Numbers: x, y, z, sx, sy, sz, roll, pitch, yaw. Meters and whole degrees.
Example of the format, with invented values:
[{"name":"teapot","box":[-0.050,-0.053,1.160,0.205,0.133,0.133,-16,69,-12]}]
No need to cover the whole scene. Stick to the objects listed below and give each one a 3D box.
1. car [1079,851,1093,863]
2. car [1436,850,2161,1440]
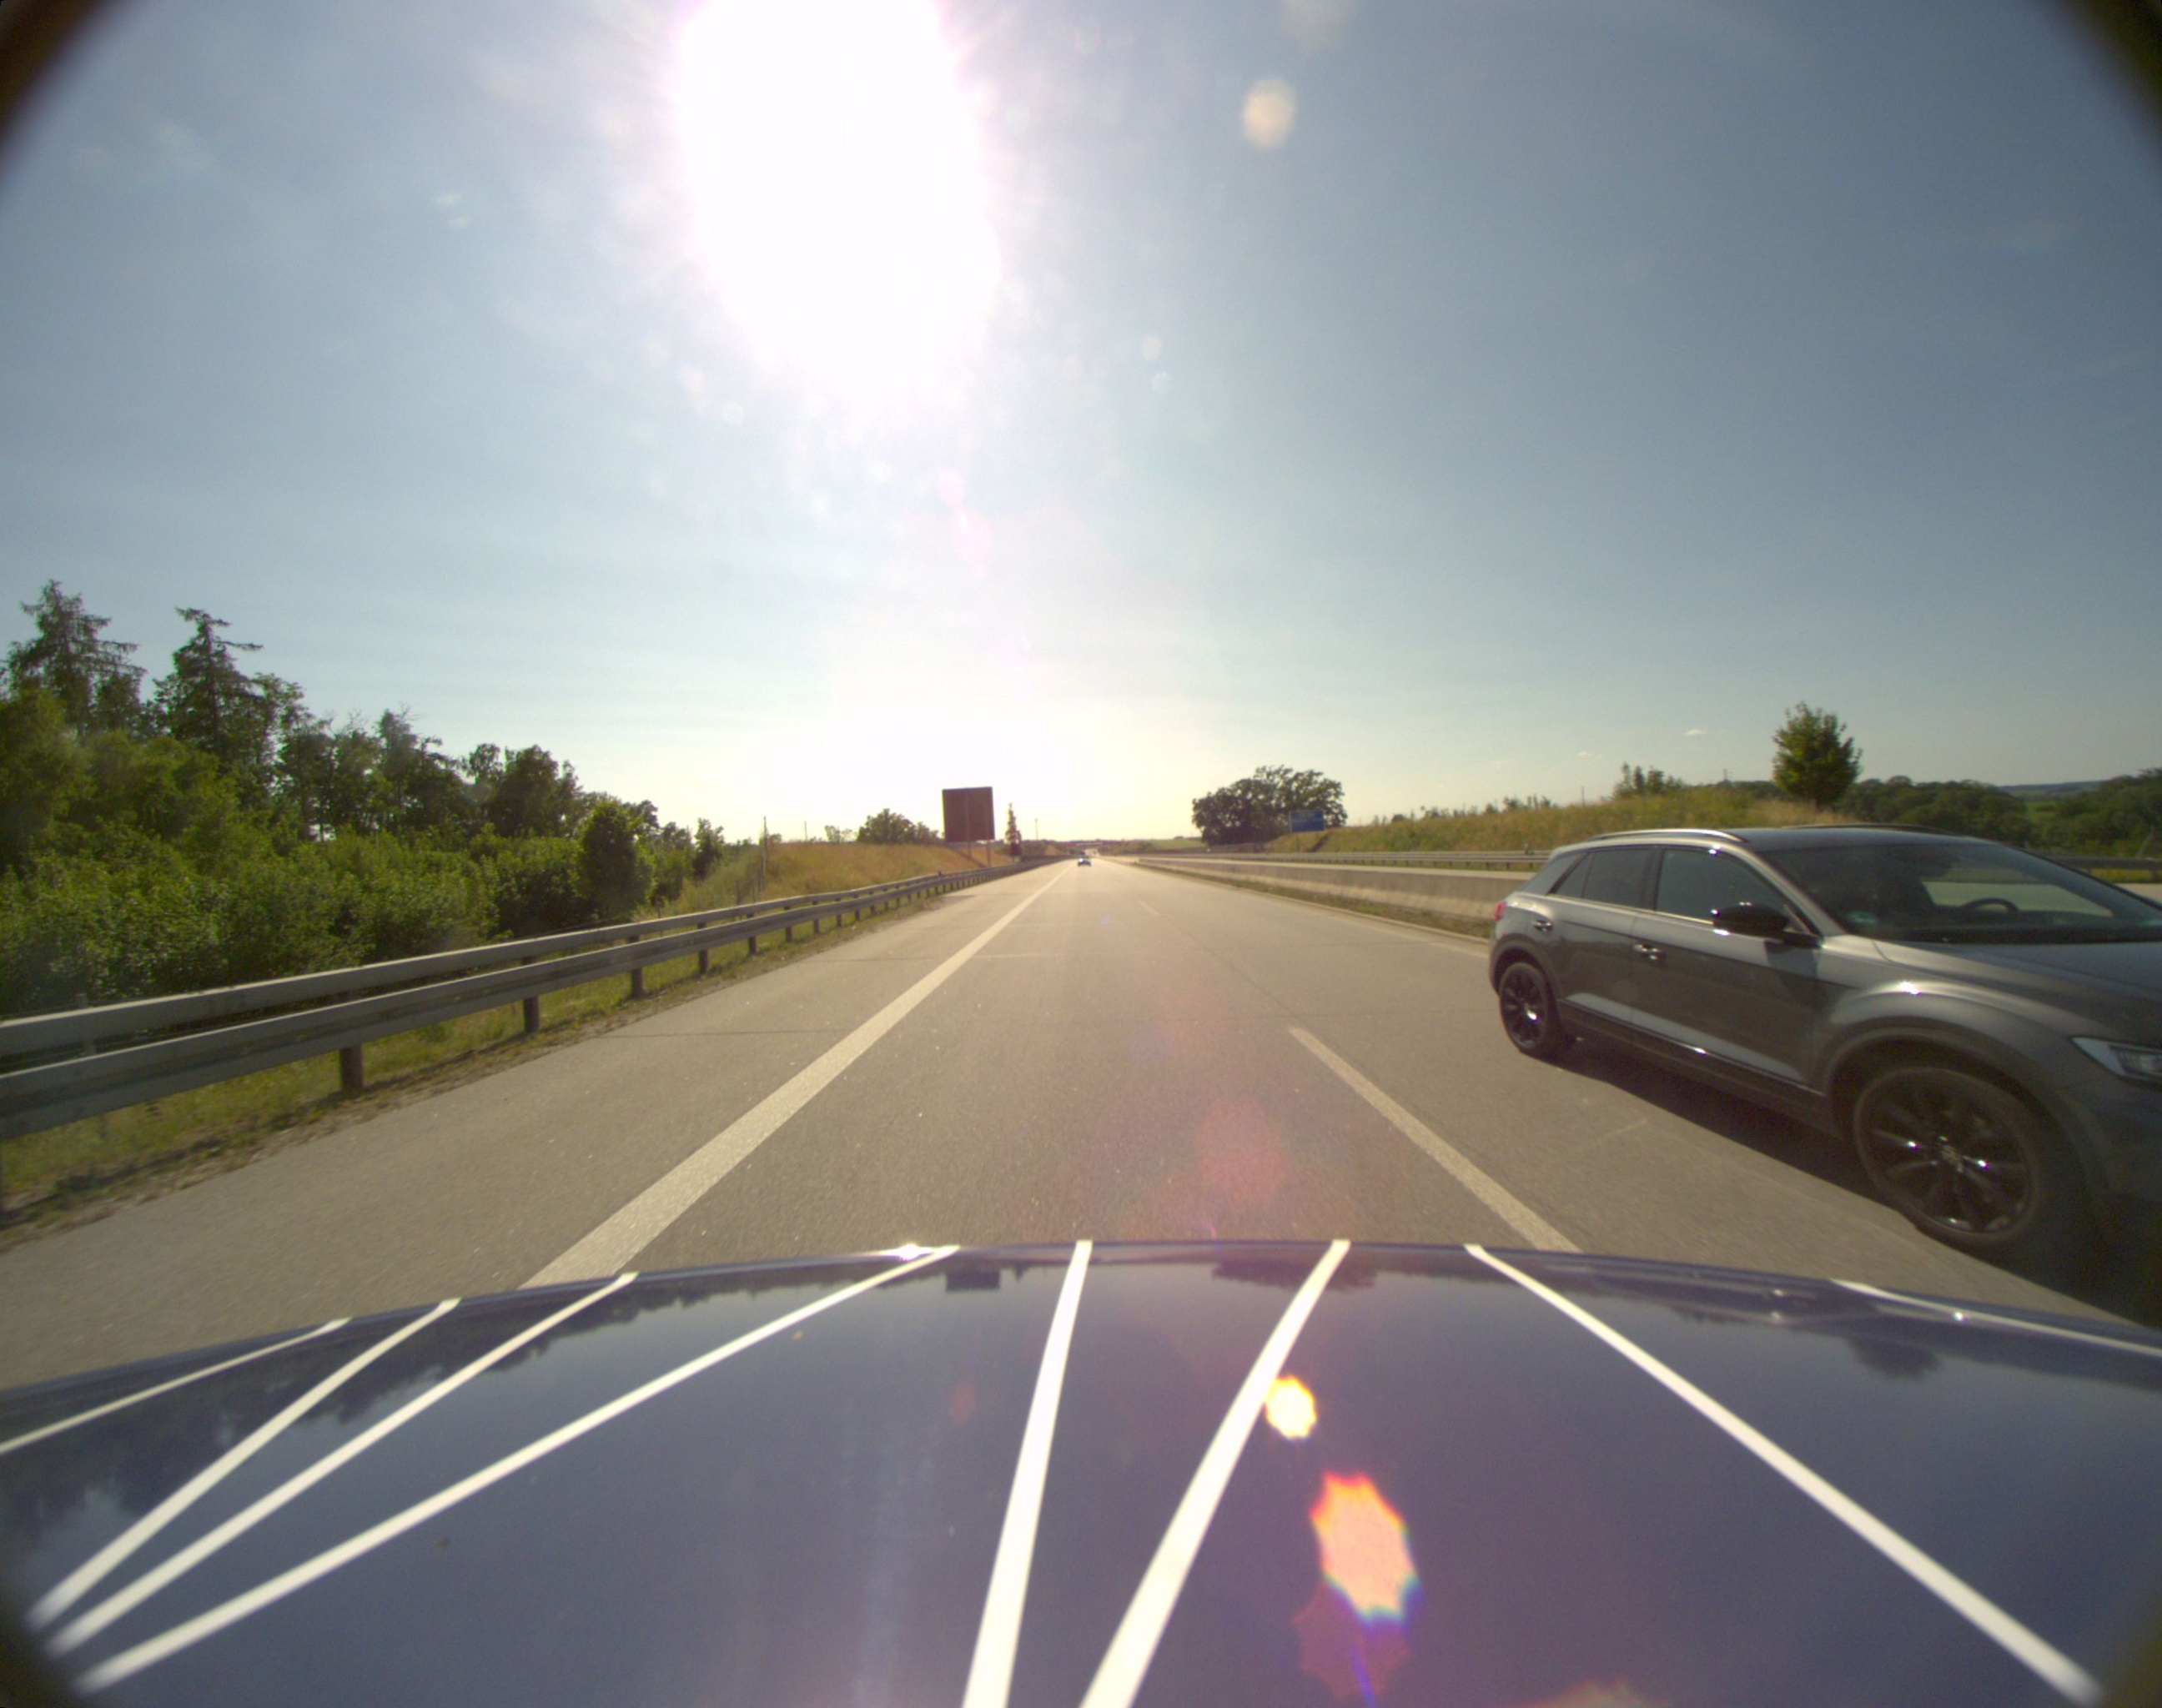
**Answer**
[{"name":"car","box":[0.721,0.409,106.734,1.909,1.449,4.376,-2,0,2]},{"name":"car","box":[3.856,0.792,3.880,1.776,1.560,4.988,-2,0,1]}]
